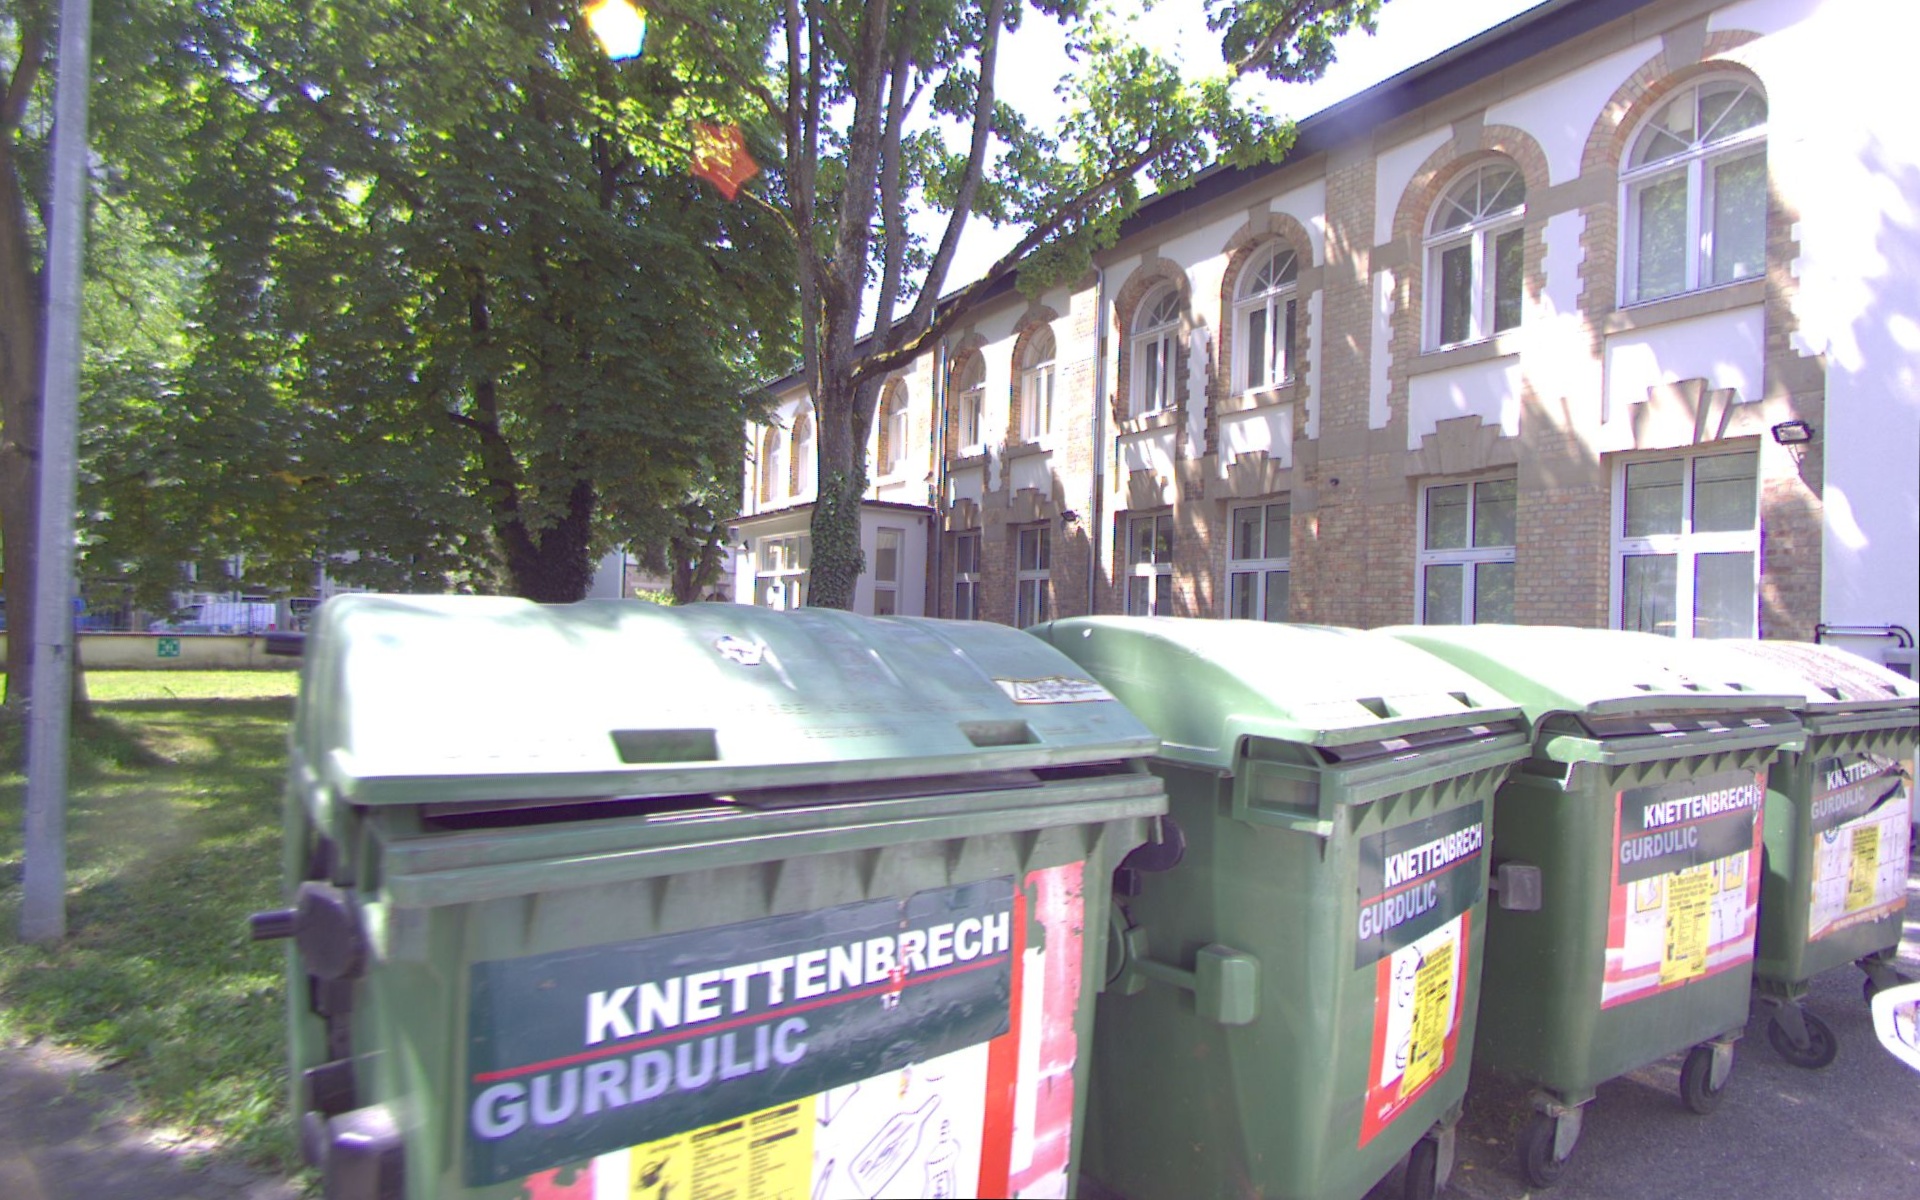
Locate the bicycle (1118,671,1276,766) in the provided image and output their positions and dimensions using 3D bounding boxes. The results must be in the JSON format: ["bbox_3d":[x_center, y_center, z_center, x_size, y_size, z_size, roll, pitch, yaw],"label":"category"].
[{"bbox_3d":[2.938,1.405,12.289,2.239,1.024,0.601,2,-2,-38],"label":"bicycle"}]

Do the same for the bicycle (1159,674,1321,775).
[{"bbox_3d":[3.307,1.412,11.739,2.239,1.024,0.601,2,-2,-38],"label":"bicycle"}]

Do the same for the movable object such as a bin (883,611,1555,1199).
[{"bbox_3d":[0.684,0.801,2.470,1.081,1.499,1.353,0,-2,43],"label":"movable object such as a bin"}]

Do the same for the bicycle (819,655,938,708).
[{"bbox_3d":[-1.476,1.478,18.530,2.243,0.902,0.647,3,-2,-42],"label":"bicycle"}]

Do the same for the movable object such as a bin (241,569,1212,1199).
[{"bbox_3d":[-0.458,0.755,1.798,1.313,1.499,1.195,3,-2,-37],"label":"movable object such as a bin"}]

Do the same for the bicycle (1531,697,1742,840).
[{"bbox_3d":[5.613,1.325,8.279,2.235,0.971,0.602,2,-1,-32],"label":"bicycle"}]

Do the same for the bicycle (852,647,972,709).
[{"bbox_3d":[-0.834,1.367,18.013,2.243,1.025,0.625,3,-2,-42],"label":"bicycle"}]

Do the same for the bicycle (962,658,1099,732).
[{"bbox_3d":[1.105,1.408,15.285,2.239,1.024,0.601,2,-2,-38],"label":"bicycle"}]

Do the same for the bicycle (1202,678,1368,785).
[{"bbox_3d":[3.659,1.419,11.190,2.239,1.024,0.601,2,-2,-38],"label":"bicycle"}]

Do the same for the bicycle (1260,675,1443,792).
[{"bbox_3d":[4.181,1.366,10.642,2.235,1.096,0.602,2,-1,-32],"label":"bicycle"}]

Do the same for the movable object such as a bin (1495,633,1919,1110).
[{"bbox_3d":[3.044,0.901,4.006,1.394,1.499,1.039,2,-2,-31],"label":"movable object such as a bin"}]

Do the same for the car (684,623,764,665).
[{"bbox_3d":[-11.498,2.129,49.129,1.491,1.879,3.996,4,0,27],"label":"car"}]

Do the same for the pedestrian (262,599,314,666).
[{"bbox_3d":[-16.181,0.779,24.188,0.684,1.588,0.743,1,-1,27],"label":"pedestrian"}]

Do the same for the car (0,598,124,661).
[{"bbox_3d":[-31.746,0.977,34.190,4.557,2.040,1.993,2,-2,-17],"label":"car"}]

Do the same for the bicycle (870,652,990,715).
[{"bbox_3d":[-0.491,1.426,17.462,2.243,1.024,0.563,3,-2,-42],"label":"bicycle"}]

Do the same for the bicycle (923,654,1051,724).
[{"bbox_3d":[0.471,1.402,16.173,2.243,1.024,0.600,3,-2,-42],"label":"bicycle"}]

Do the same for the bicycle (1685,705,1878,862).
[{"bbox_3d":[6.160,1.317,7.506,1.711,0.971,0.608,2,-1,-32],"label":"bicycle"}]

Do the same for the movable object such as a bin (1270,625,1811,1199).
[{"bbox_3d":[1.819,0.848,3.179,1.249,1.499,1.038,3,-2,-33],"label":"movable object such as a bin"}]

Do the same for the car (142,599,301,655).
[{"bbox_3d":[-29.030,1.074,39.637,4.547,2.040,1.997,2,-2,-9],"label":"car"}]

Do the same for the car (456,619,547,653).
[{"bbox_3d":[-23.410,1.842,51.445,3.939,1.405,1.743,5,-1,-19],"label":"car"}]

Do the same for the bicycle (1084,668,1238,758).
[{"bbox_3d":[2.605,1.406,12.846,2.239,1.024,0.601,2,-2,-38],"label":"bicycle"}]

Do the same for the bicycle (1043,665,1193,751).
[{"bbox_3d":[2.144,1.405,13.442,2.239,1.024,0.601,2,-2,-38],"label":"bicycle"}]

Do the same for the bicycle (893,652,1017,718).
[{"bbox_3d":[-0.053,1.404,16.986,2.243,1.024,0.600,3,-2,-42],"label":"bicycle"}]
